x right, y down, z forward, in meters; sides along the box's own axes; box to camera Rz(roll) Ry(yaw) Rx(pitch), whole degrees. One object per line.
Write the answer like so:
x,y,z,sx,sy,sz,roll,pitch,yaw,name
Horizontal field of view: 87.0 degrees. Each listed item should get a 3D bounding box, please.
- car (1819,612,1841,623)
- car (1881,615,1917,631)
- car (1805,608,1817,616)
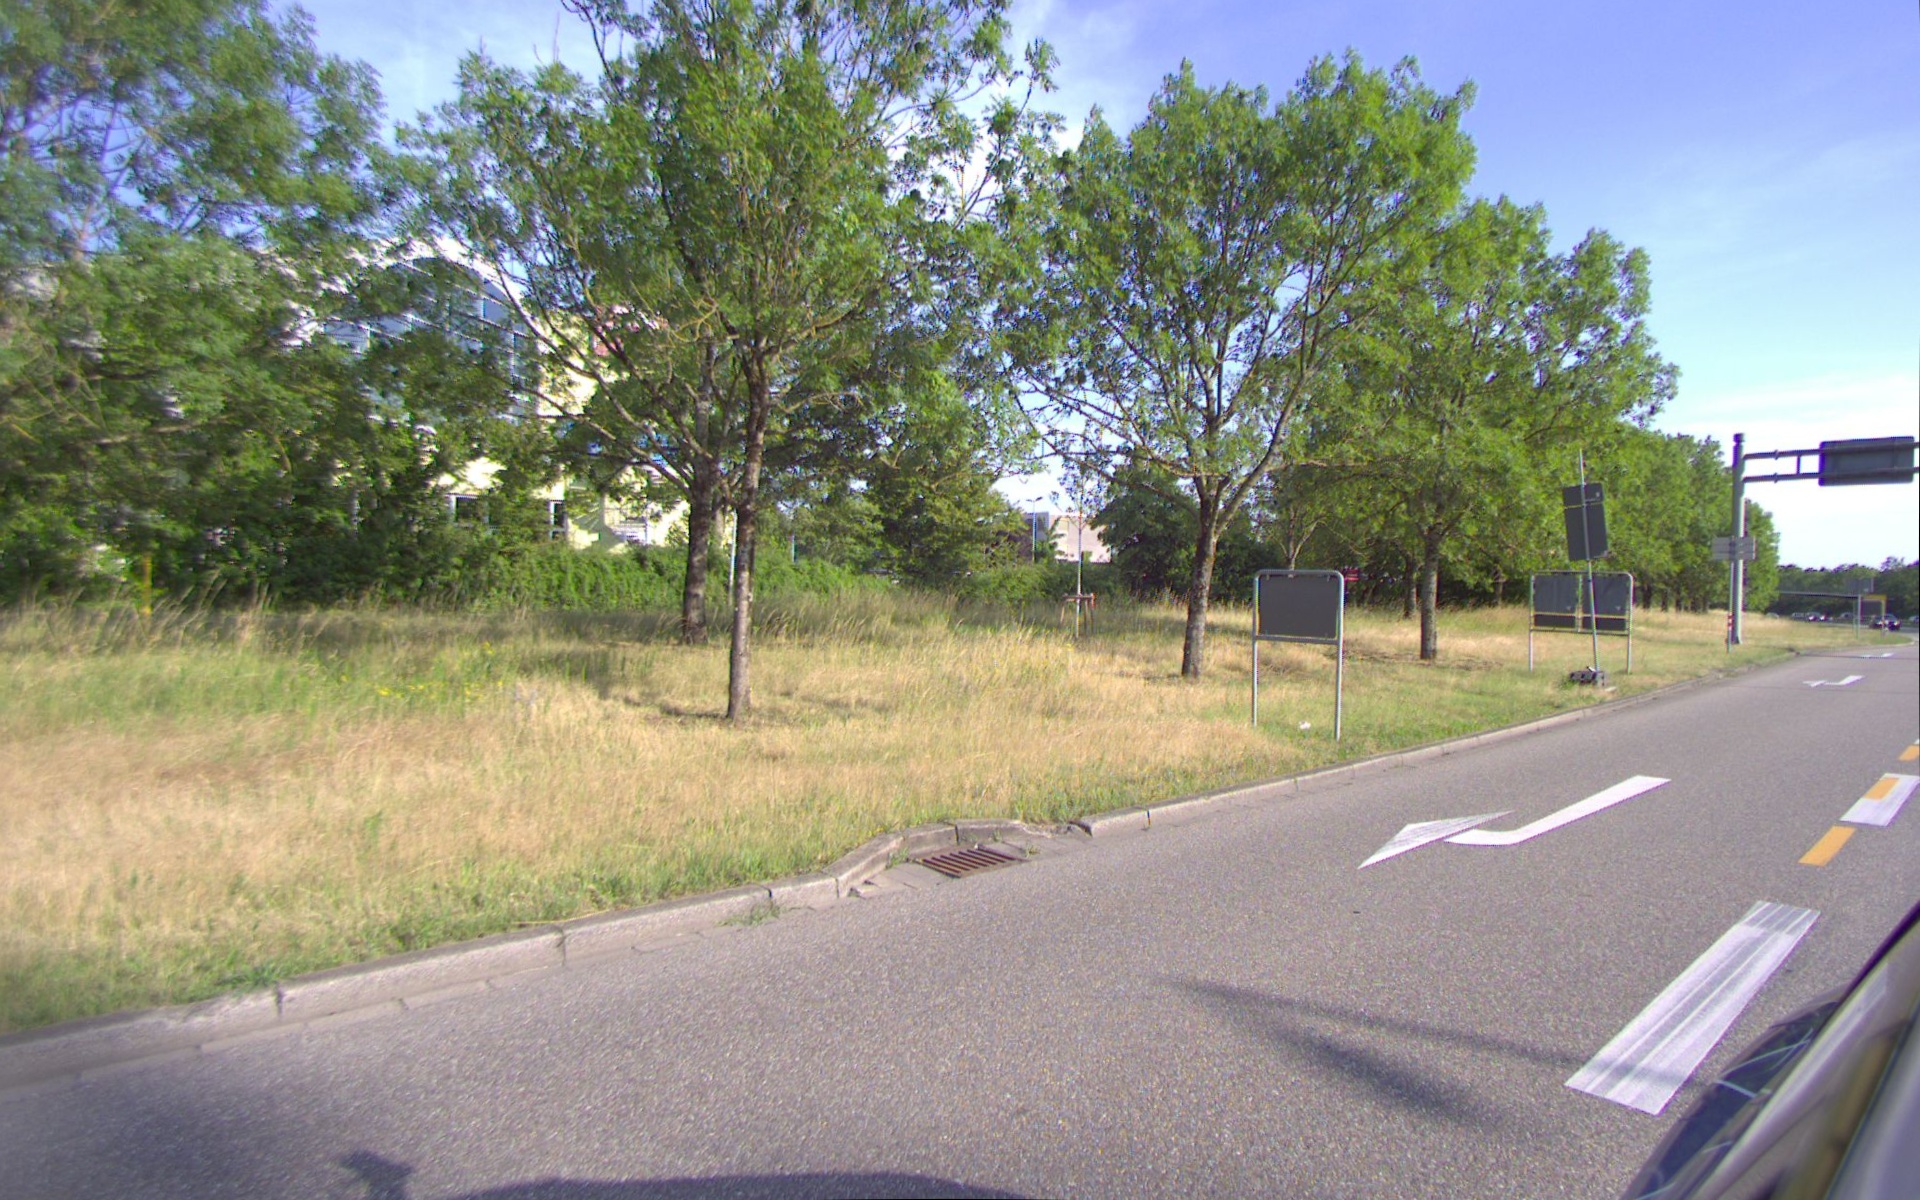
127.627,2.553,148.442,1.883,1.474,3.862,2,2,34,car
83.196,2.011,89.705,1.892,1.403,4.296,0,-1,38,car
166.866,2.305,198.347,1.599,1.460,3.192,0,-1,37,car
